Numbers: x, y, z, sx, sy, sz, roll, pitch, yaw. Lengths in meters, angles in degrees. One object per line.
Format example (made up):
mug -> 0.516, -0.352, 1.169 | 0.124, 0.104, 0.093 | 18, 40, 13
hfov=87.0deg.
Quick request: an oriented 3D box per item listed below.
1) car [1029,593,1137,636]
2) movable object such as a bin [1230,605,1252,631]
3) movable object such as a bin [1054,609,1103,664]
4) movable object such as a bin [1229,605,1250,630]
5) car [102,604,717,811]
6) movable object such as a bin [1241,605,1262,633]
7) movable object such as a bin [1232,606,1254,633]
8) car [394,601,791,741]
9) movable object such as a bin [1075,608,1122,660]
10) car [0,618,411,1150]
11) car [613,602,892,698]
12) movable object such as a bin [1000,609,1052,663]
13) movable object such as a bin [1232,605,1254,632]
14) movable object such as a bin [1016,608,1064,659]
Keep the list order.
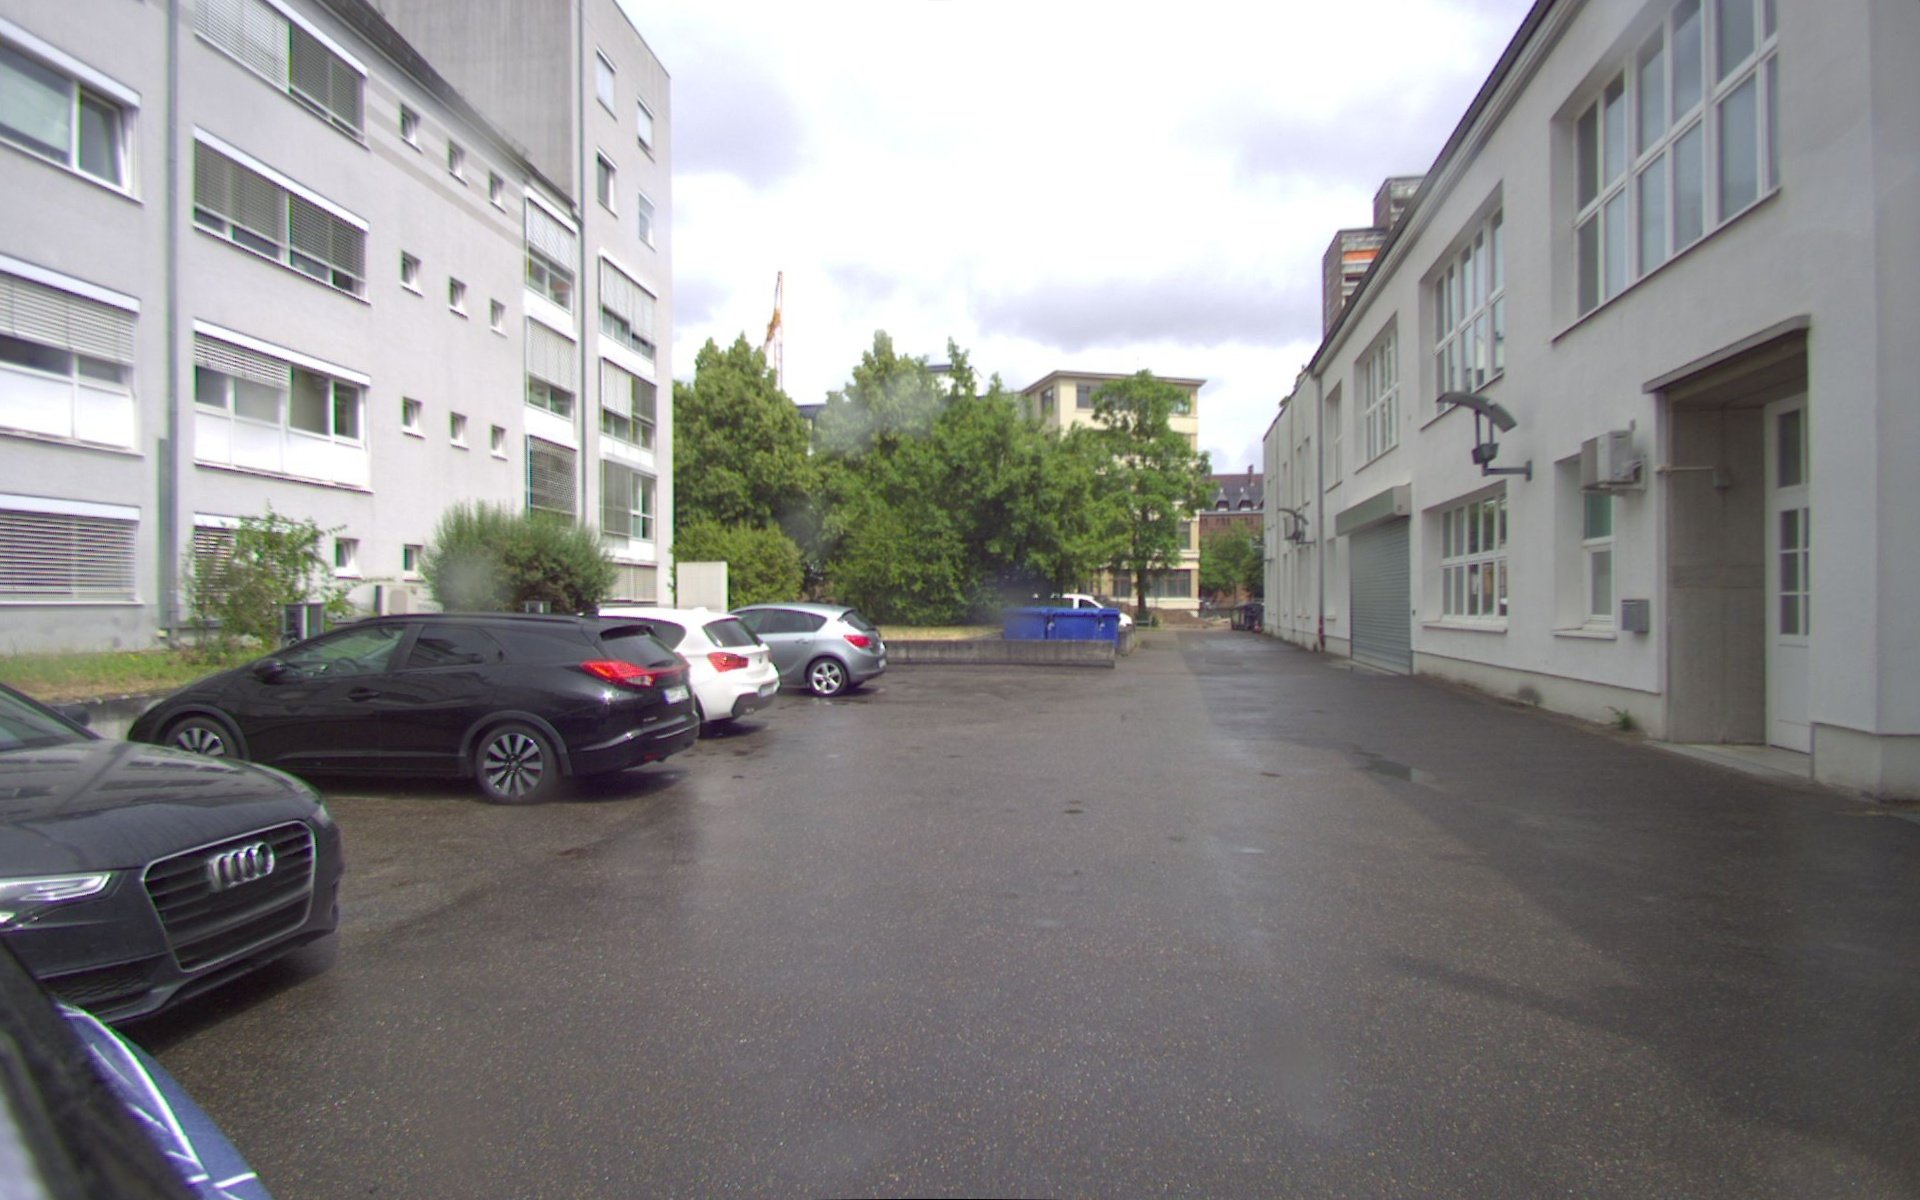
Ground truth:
car -> 5.211, 0.606, 42.637 | 4.296, 1.740, 1.713 | -1, 0, 17
movable object such as a bin -> 15.152, 0.967, 54.586 | 1.056, 1.366, 1.259 | -1, 0, 15
movable object such as a bin -> 3.023, 0.917, 25.690 | 1.085, 1.335, 1.203 | -1, 0, 14
movable object such as a bin -> 15.434, 0.958, 55.925 | 1.056, 1.366, 1.259 | -1, 0, 15
car -> -4.381, 0.785, 8.438 | 4.261, 1.453, 1.760 | 0, 0, 5
movable object such as a bin -> 14.402, 0.948, 50.023 | 0.969, 1.366, 0.915 | -1, 0, 15
movable object such as a bin -> 14.484, 0.988, 51.759 | 1.036, 1.366, 1.202 | -1, 0, 15
car -> -4.203, 0.763, 11.894 | 4.075, 1.453, 1.693 | 0, 0, 7
movable object such as a bin -> 3.765, 0.908, 27.339 | 1.120, 1.338, 1.203 | -1, 0, 14
car -> -4.708, 0.768, 3.799 | 4.473, 1.362, 1.760 | 0, 0, 6
car -> -3.370, 0.787, 16.901 | 4.261, 1.453, 1.760 | 0, 0, 5
movable object such as a bin -> 1.701, 0.910, 25.948 | 1.120, 1.338, 1.203 | -1, 0, 14
movable object such as a bin -> 14.845, 0.977, 53.041 | 1.053, 1.366, 1.213 | -1, 0, 15
movable object such as a bin -> 2.195, 0.896, 27.586 | 1.120, 1.338, 1.203 | -1, 0, 14
